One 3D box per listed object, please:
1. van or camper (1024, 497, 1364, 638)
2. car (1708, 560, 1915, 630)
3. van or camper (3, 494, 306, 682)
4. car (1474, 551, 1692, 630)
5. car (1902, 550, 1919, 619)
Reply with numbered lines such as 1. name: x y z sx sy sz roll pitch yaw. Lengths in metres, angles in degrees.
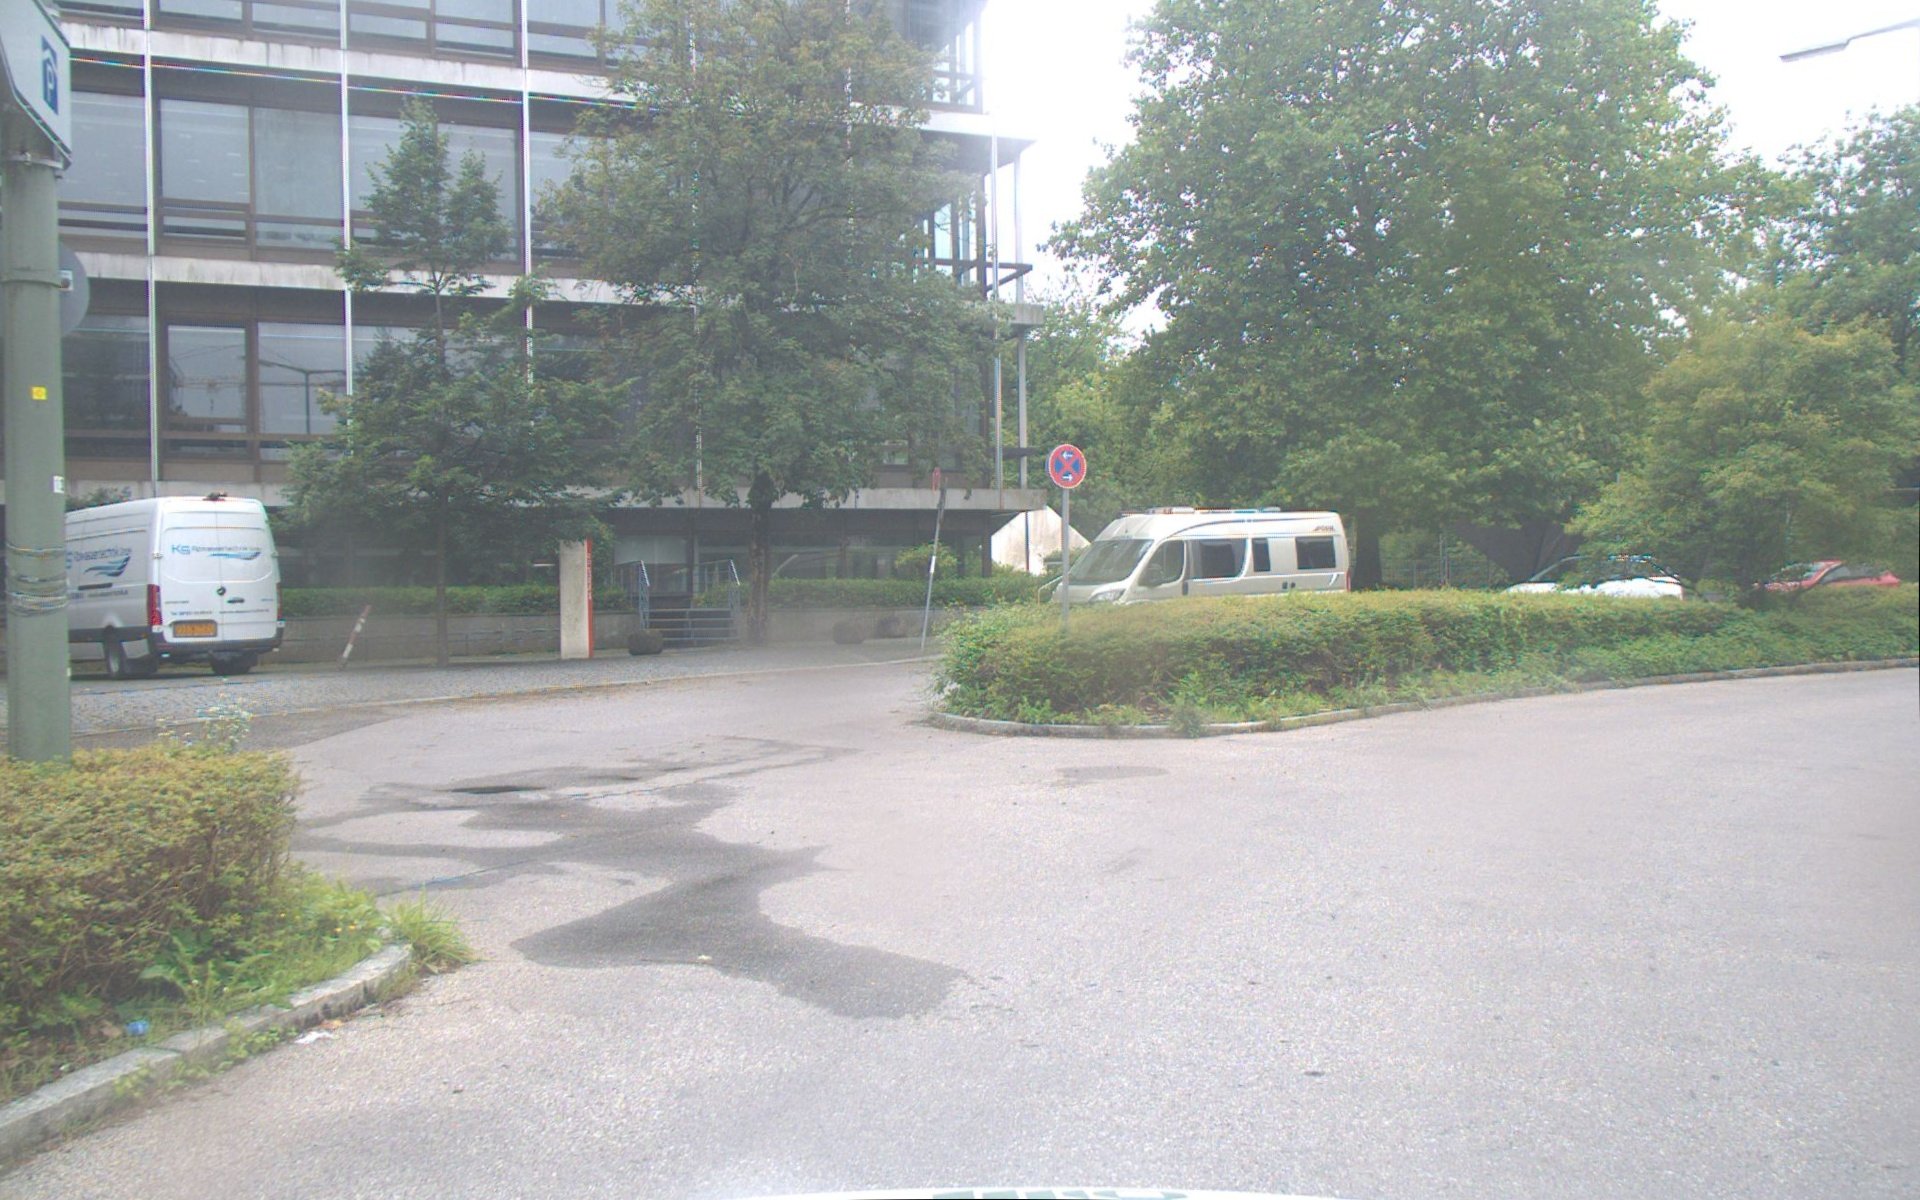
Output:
1. van or camper: 4.337 -0.585 29.901 6.347 2.321 2.226 -1 0 -36
2. car: 18.872 -0.122 36.677 3.929 1.434 1.988 -1 1 -21
3. van or camper: -12.832 -0.067 26.068 6.424 2.626 2.149 -3 -2 43
4. car: 12.990 -0.210 34.526 3.929 1.534 1.988 -1 1 -21
5. car: 24.397 -0.411 38.762 3.929 1.601 1.988 -1 0 -21
